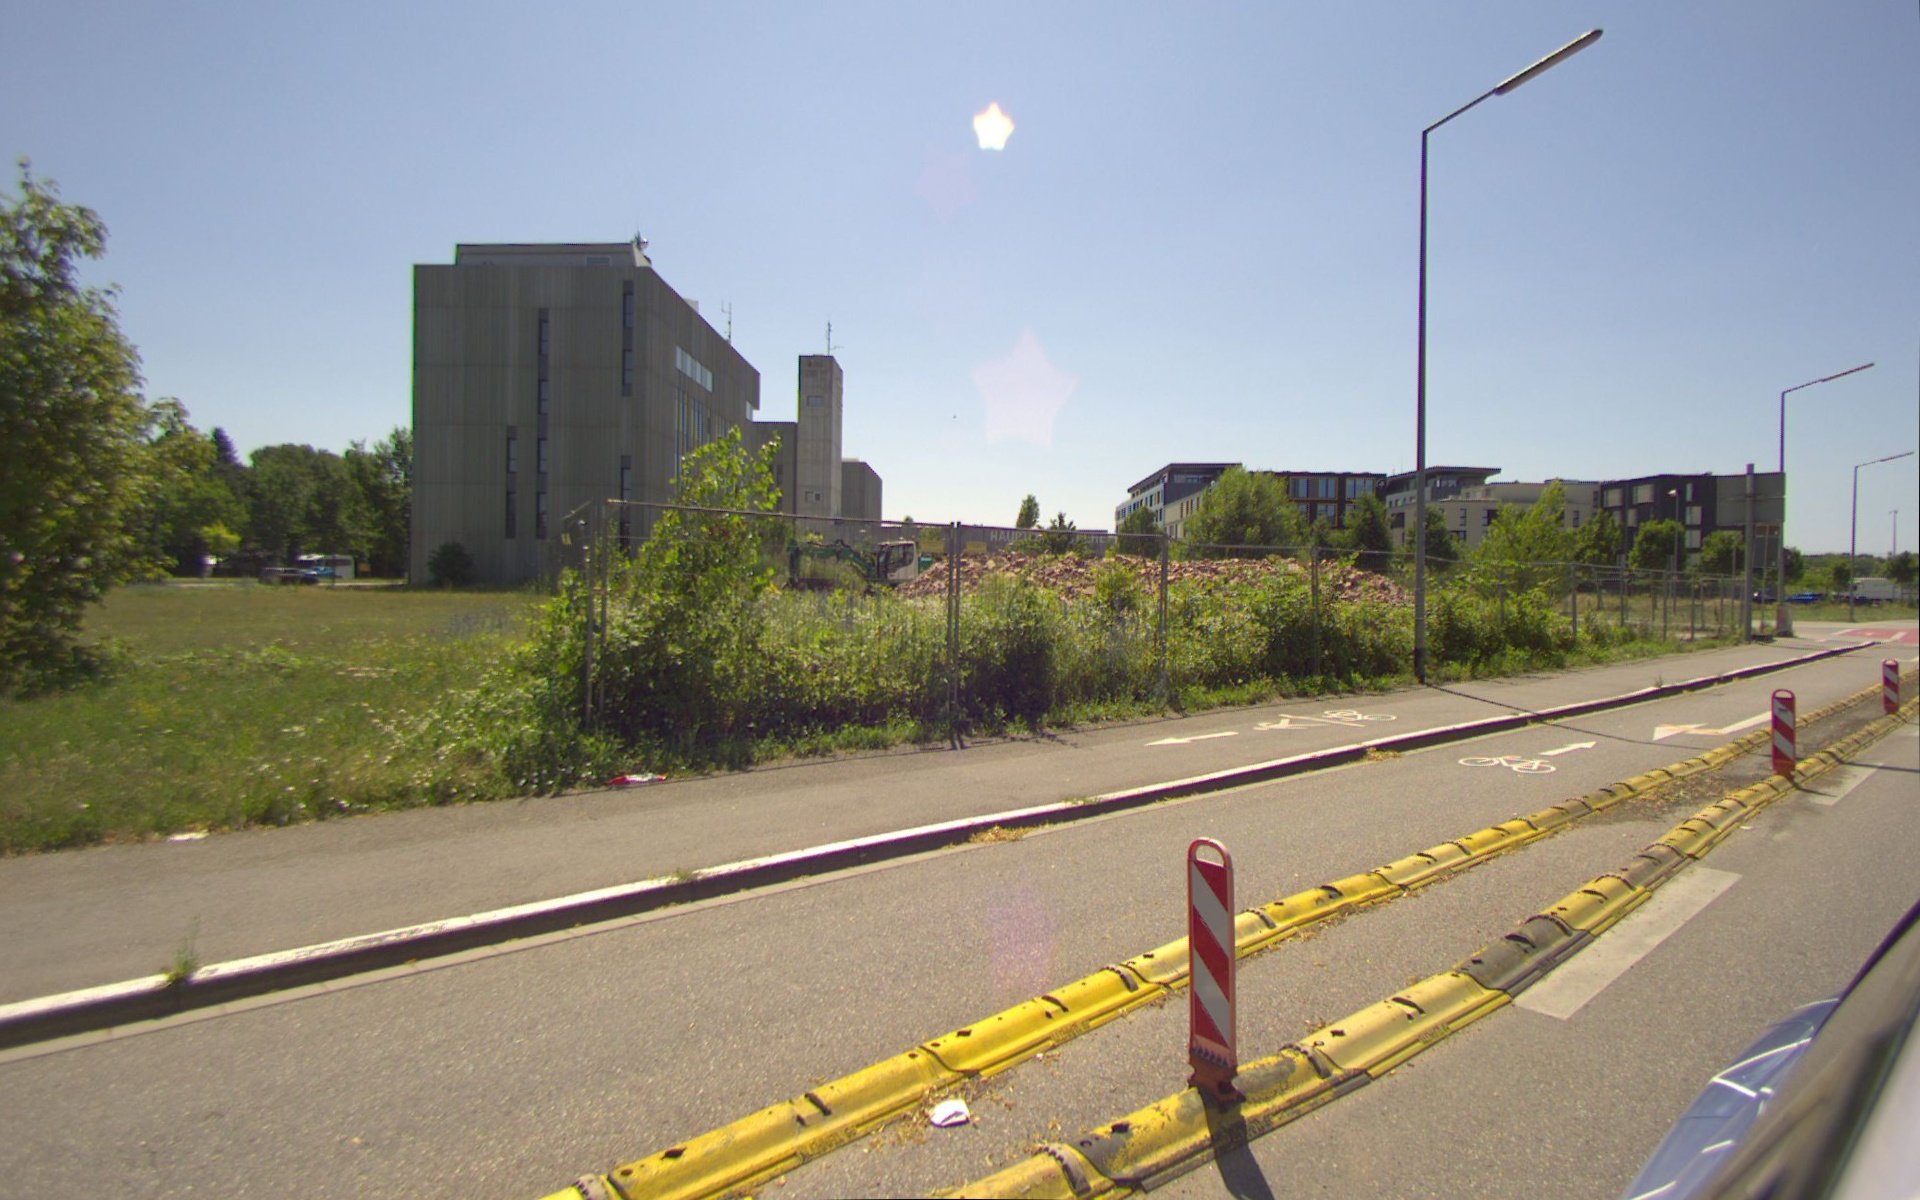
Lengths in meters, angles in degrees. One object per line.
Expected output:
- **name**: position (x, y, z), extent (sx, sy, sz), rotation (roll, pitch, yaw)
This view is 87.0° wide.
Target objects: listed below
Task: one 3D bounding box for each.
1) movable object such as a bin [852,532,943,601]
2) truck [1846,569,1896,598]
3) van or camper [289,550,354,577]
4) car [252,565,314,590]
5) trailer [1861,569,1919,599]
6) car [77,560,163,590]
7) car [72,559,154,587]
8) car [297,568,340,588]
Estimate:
- **movable object such as a bin**: position (-2.914, -1.535, 47.198), extent (3.619, 3.101, 2.207), rotation (0, 0, -36)
- **truck**: position (107.986, -1.979, 120.003), extent (3.928, 3.377, 1.998), rotation (1, 1, 4)
- **van or camper**: position (-68.399, -3.918, 108.599), extent (2.465, 2.727, 7.516), rotation (0, 1, -2)
- **car**: position (-50.028, -1.664, 74.891), extent (1.775, 1.772, 3.998), rotation (0, 1, 3)
- **trailer**: position (111.782, -1.880, 119.707), extent (8.030, 3.390, 1.998), rotation (1, 1, 4)
- **car**: position (-50.468, -1.473, 60.932), extent (1.775, 1.772, 3.998), rotation (0, 1, 3)
- **car**: position (-55.252, -1.738, 66.078), extent (1.778, 1.772, 3.992), rotation (0, 1, 7)
- **car**: position (-65.225, -2.232, 102.948), extent (1.961, 2.039, 4.002), rotation (0, 1, -2)
